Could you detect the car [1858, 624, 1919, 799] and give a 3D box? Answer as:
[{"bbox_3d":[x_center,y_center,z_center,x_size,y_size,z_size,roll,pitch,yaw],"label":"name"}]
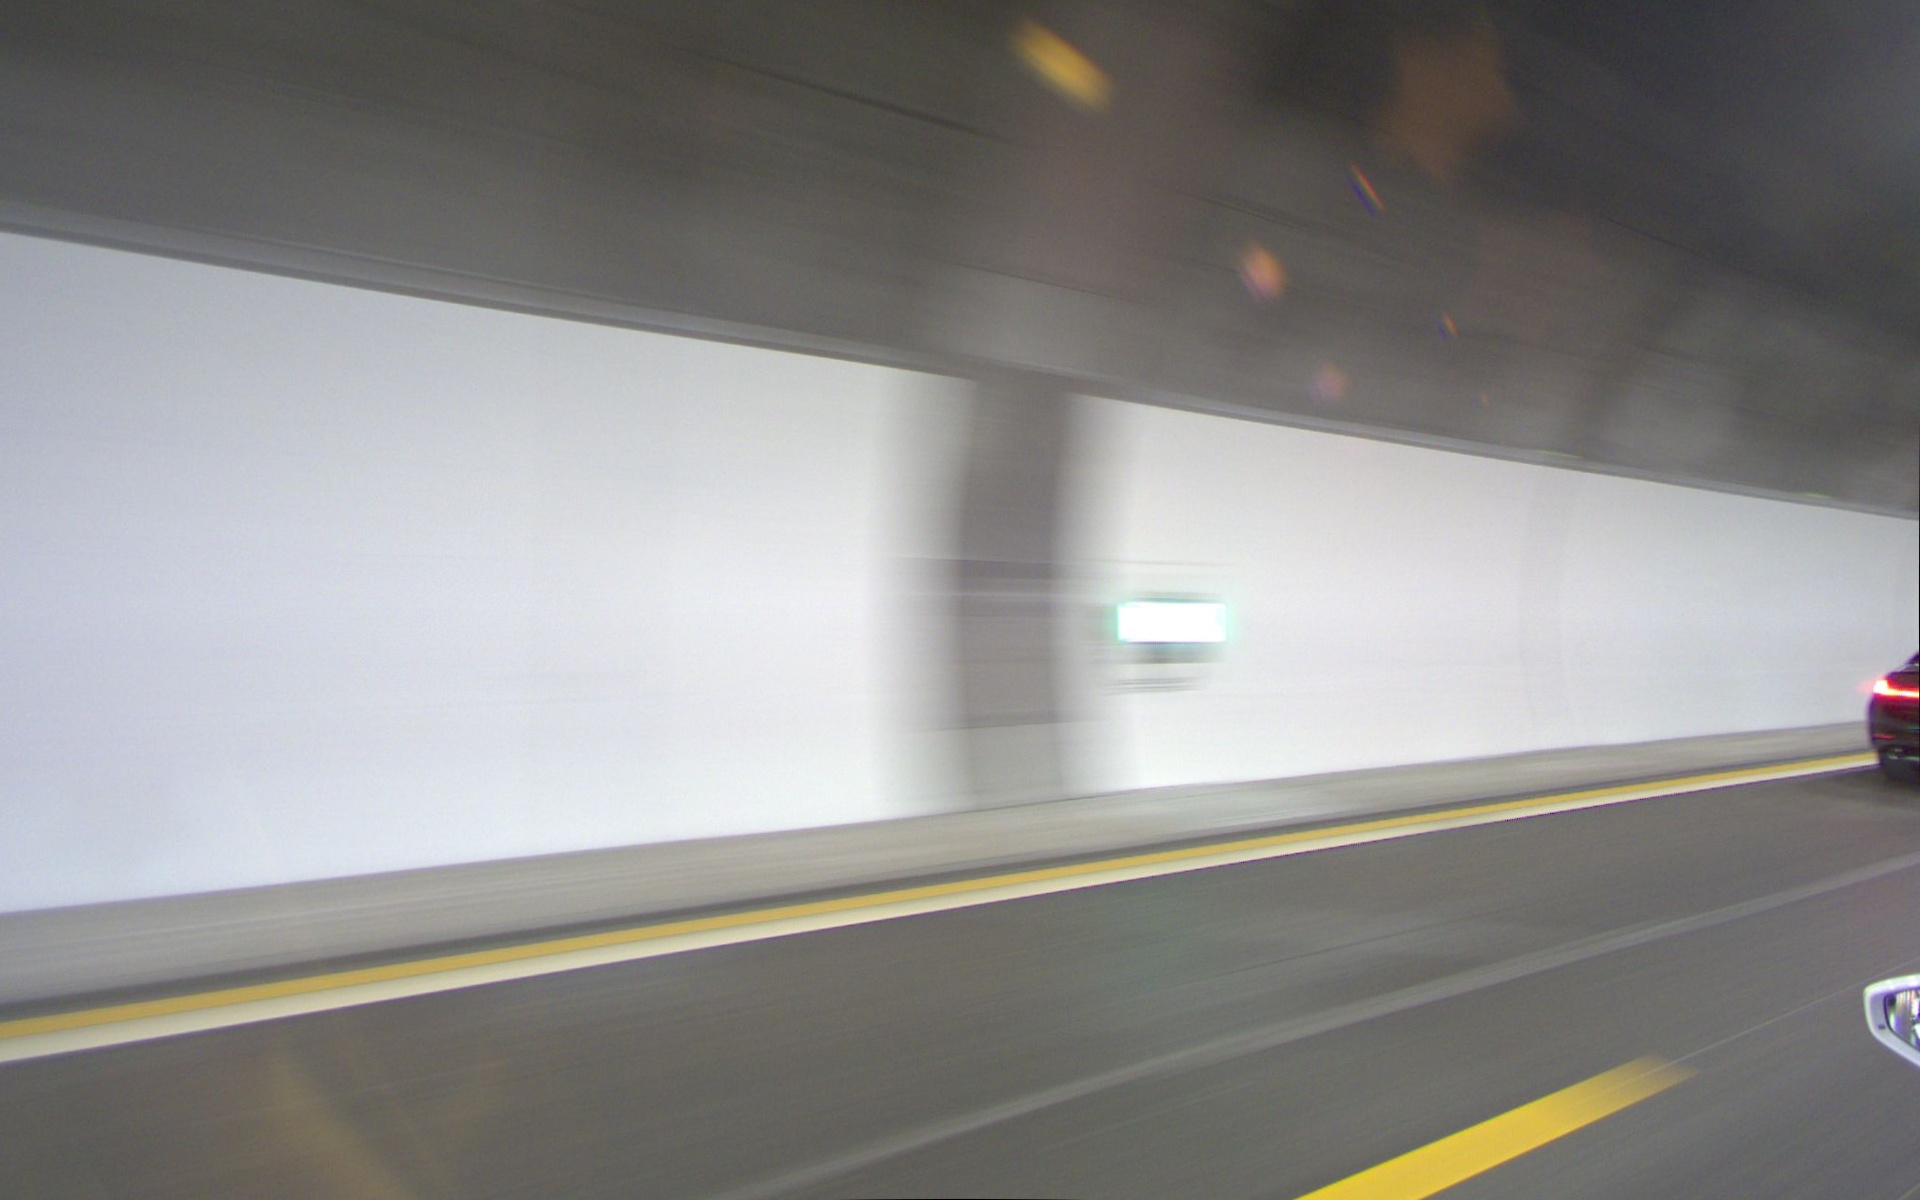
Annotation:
[{"bbox_3d":[10.351,0.988,9.220,4.826,1.457,1.769,1,0,-31],"label":"car"}]
